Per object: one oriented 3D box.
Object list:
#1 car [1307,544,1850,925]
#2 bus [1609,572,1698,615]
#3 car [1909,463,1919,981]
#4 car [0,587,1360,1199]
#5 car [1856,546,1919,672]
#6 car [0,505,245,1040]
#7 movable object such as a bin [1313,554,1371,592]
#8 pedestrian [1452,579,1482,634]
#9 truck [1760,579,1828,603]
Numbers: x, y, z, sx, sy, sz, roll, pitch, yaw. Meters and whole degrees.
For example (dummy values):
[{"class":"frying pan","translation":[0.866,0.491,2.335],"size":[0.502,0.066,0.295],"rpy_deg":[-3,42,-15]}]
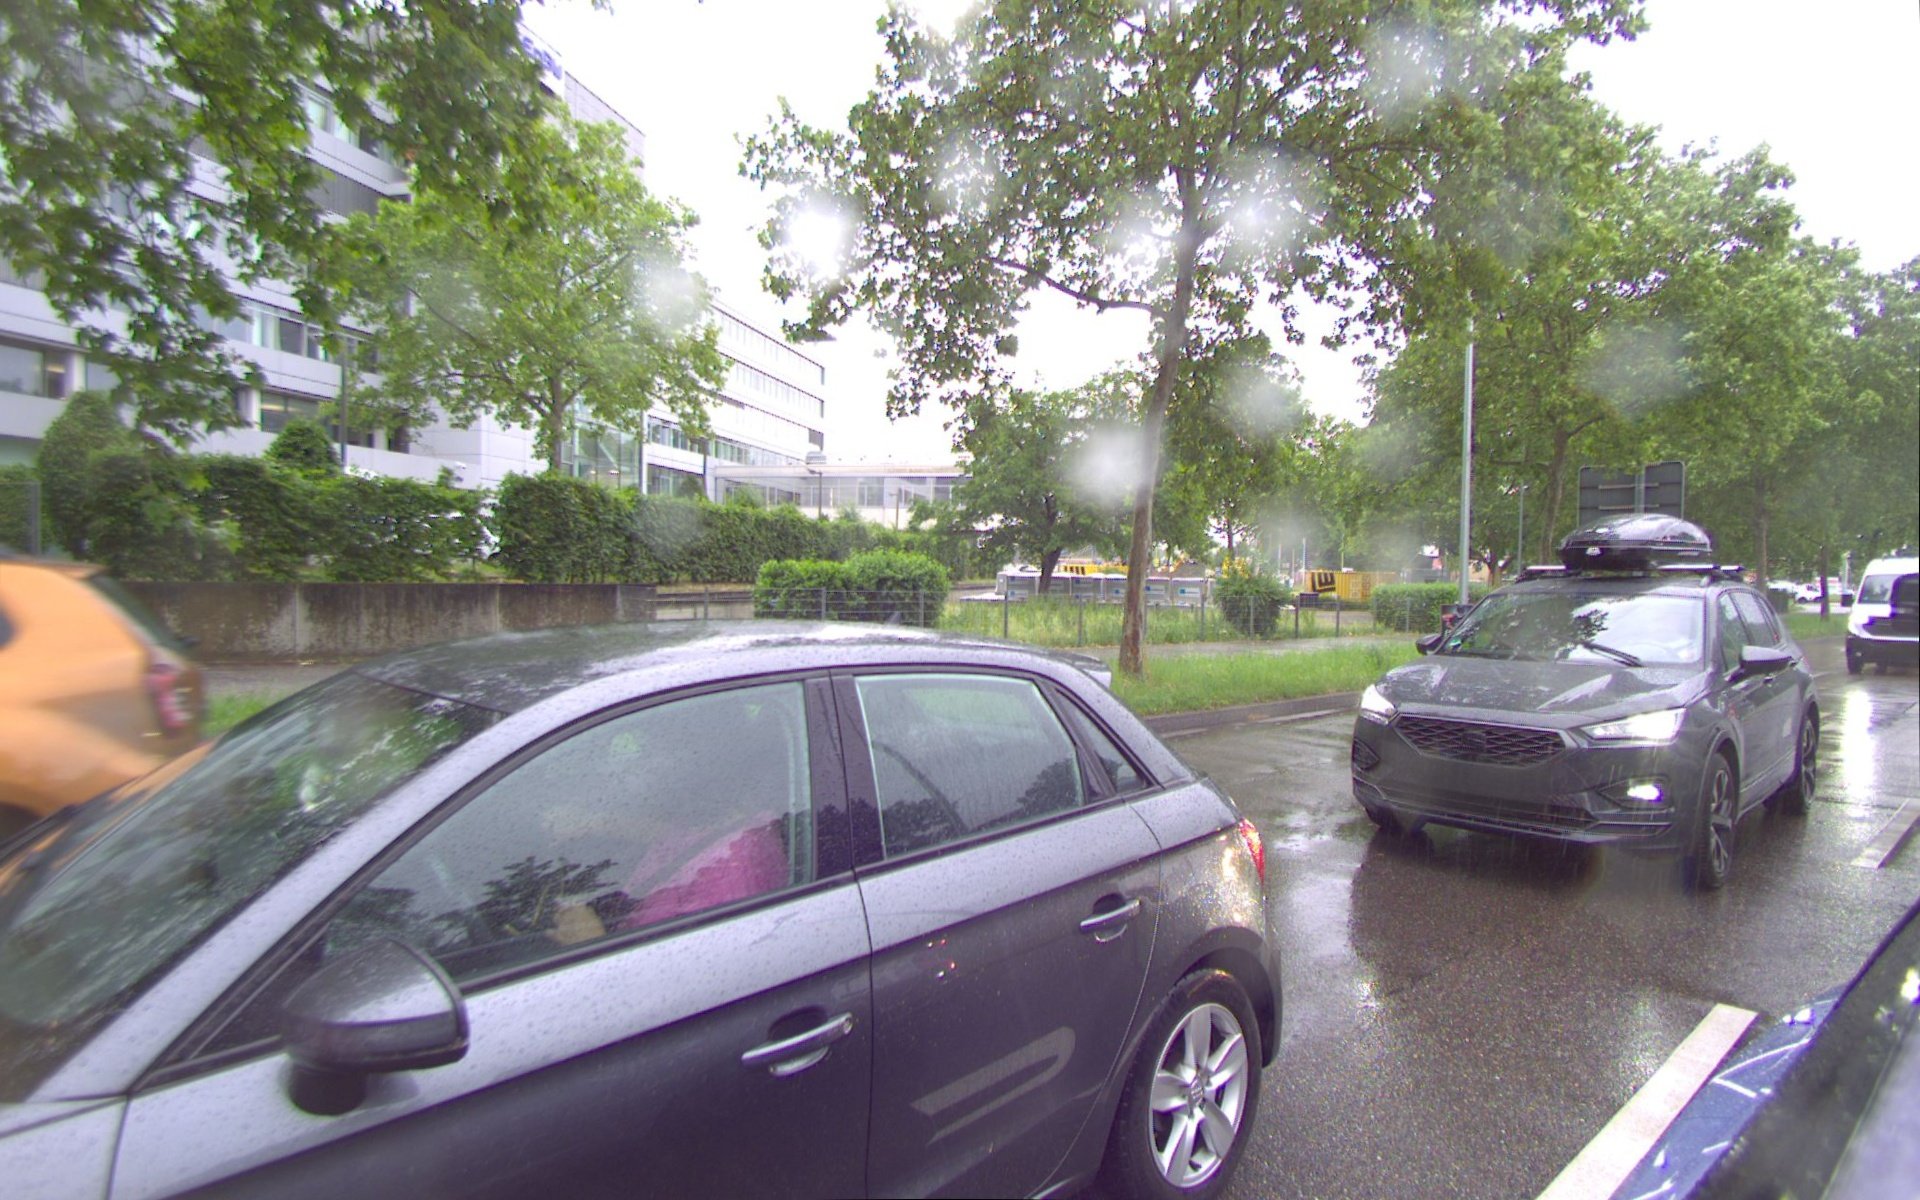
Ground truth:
[{"class":"car","translation":[4.307,0.582,6.729],"size":[4.347,1.719,1.892],"rpy_deg":[0,1,-42]},{"class":"bus","translation":[43.732,-0.424,63.924],"size":[1.681,2.600,4.366],"rpy_deg":[0,0,-41]},{"class":"car","translation":[6.327,0.179,4.965],"size":[5.599,2.544,2.024],"rpy_deg":[0,1,-43]},{"class":"car","translation":[-0.869,0.708,2.140],"size":[3.715,1.446,1.679],"rpy_deg":[0,1,-41]},{"class":"car","translation":[20.769,0.166,21.615],"size":[5.227,2.476,1.892],"rpy_deg":[0,1,-43]},{"class":"car","translation":[-4.673,0.545,2.959],"size":[4.074,1.707,1.677],"rpy_deg":[1,-1,-41]},{"class":"movable object such as a bin","translation":[36.152,-2.541,95.804],"size":[4.838,3.478,1.921],"rpy_deg":[0,0,-7]},{"class":"pedestrian","translation":[16.071,0.199,32.070],"size":[0.645,1.738,0.645],"rpy_deg":[0,0,-40]},{"class":"truck","translation":[85.199,-0.929,103.474],"size":[4.988,2.406,1.785],"rpy_deg":[0,0,19]}]
